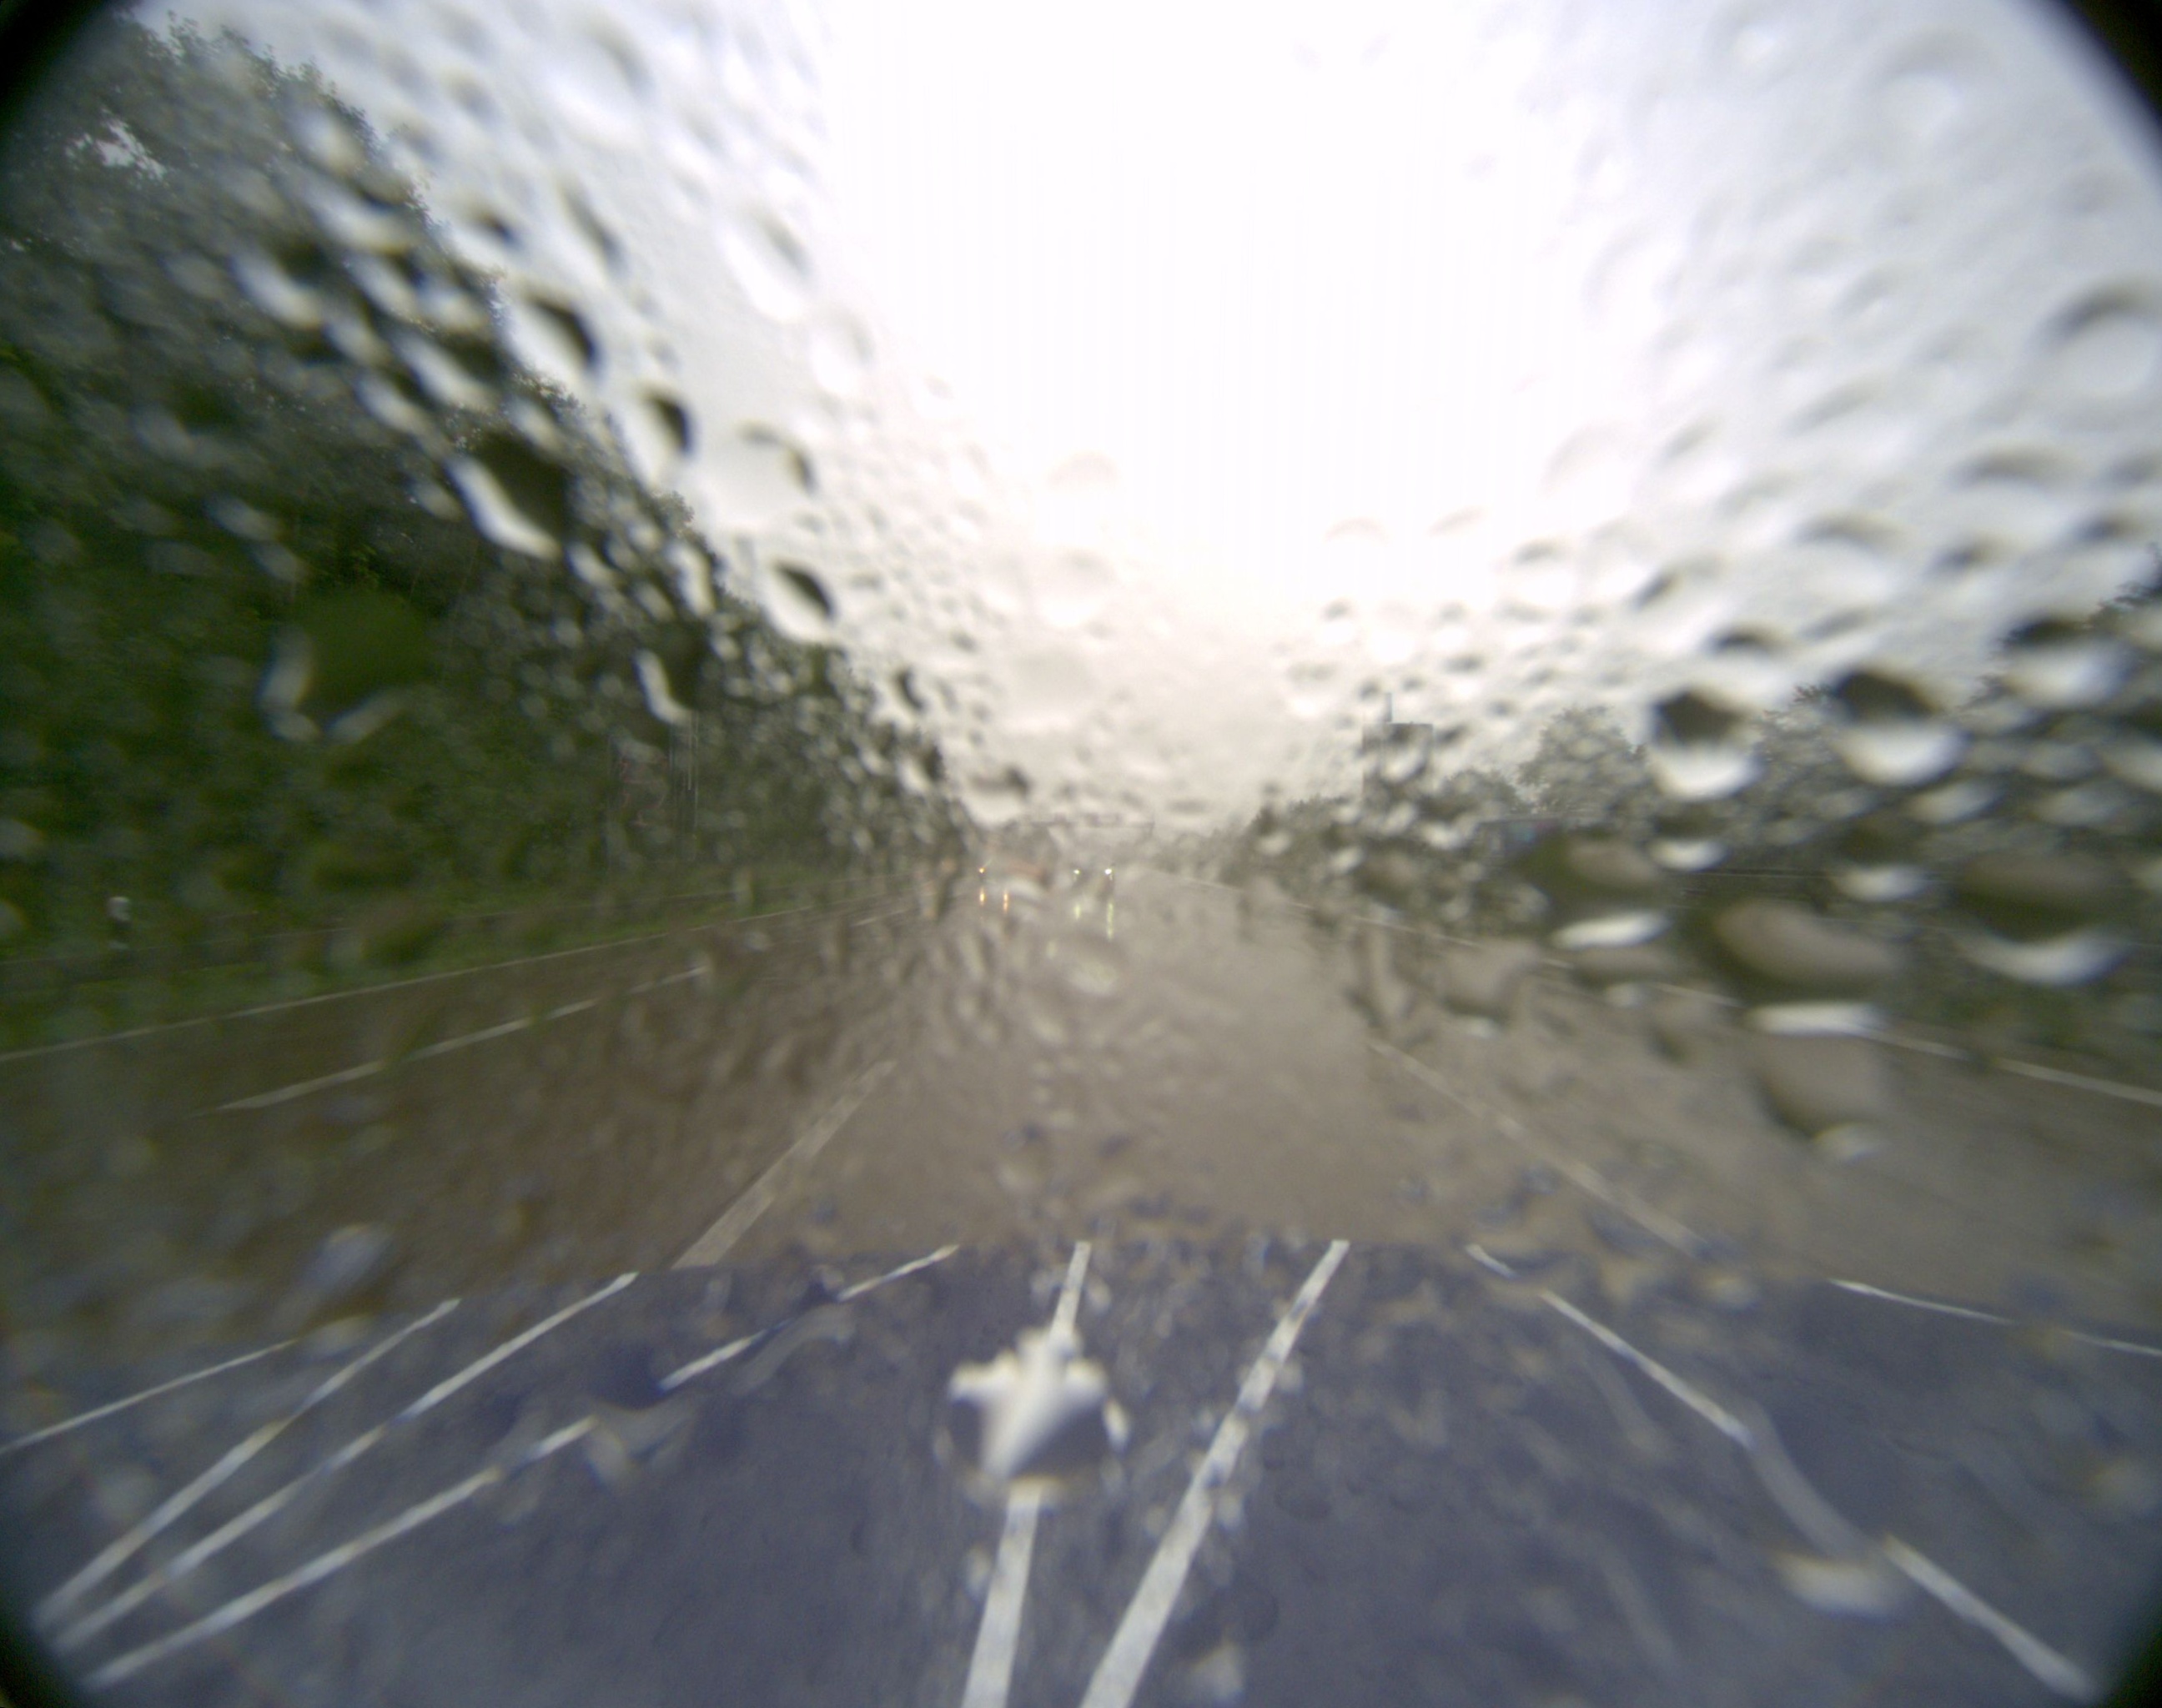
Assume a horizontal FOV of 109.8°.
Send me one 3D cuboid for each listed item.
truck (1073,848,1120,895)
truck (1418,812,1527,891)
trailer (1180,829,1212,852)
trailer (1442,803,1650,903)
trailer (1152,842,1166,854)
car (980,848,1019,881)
[{"bbox_3d":[0.671,0.730,36.392,1.998,2.002,7.575,0,0,0],"label":"truck"},{"bbox_3d":[22.353,-0.135,43.775,3.382,4.160,5.519,-1,0,0],"label":"truck"},{"bbox_3d":[19.280,-2.171,128.173,2.860,3.522,13.704,-2,1,-1],"label":"trailer"},{"bbox_3d":[22.279,-0.067,37.666,3.363,4.149,11.401,-1,0,1],"label":"trailer"},{"bbox_3d":[24.257,-1.832,237.087,2.972,3.653,12.285,-1,0,1],"label":"trailer"},{"bbox_3d":[-5.235,0.653,49.422,1.859,2.002,4.001,-1,0,3],"label":"car"}]
